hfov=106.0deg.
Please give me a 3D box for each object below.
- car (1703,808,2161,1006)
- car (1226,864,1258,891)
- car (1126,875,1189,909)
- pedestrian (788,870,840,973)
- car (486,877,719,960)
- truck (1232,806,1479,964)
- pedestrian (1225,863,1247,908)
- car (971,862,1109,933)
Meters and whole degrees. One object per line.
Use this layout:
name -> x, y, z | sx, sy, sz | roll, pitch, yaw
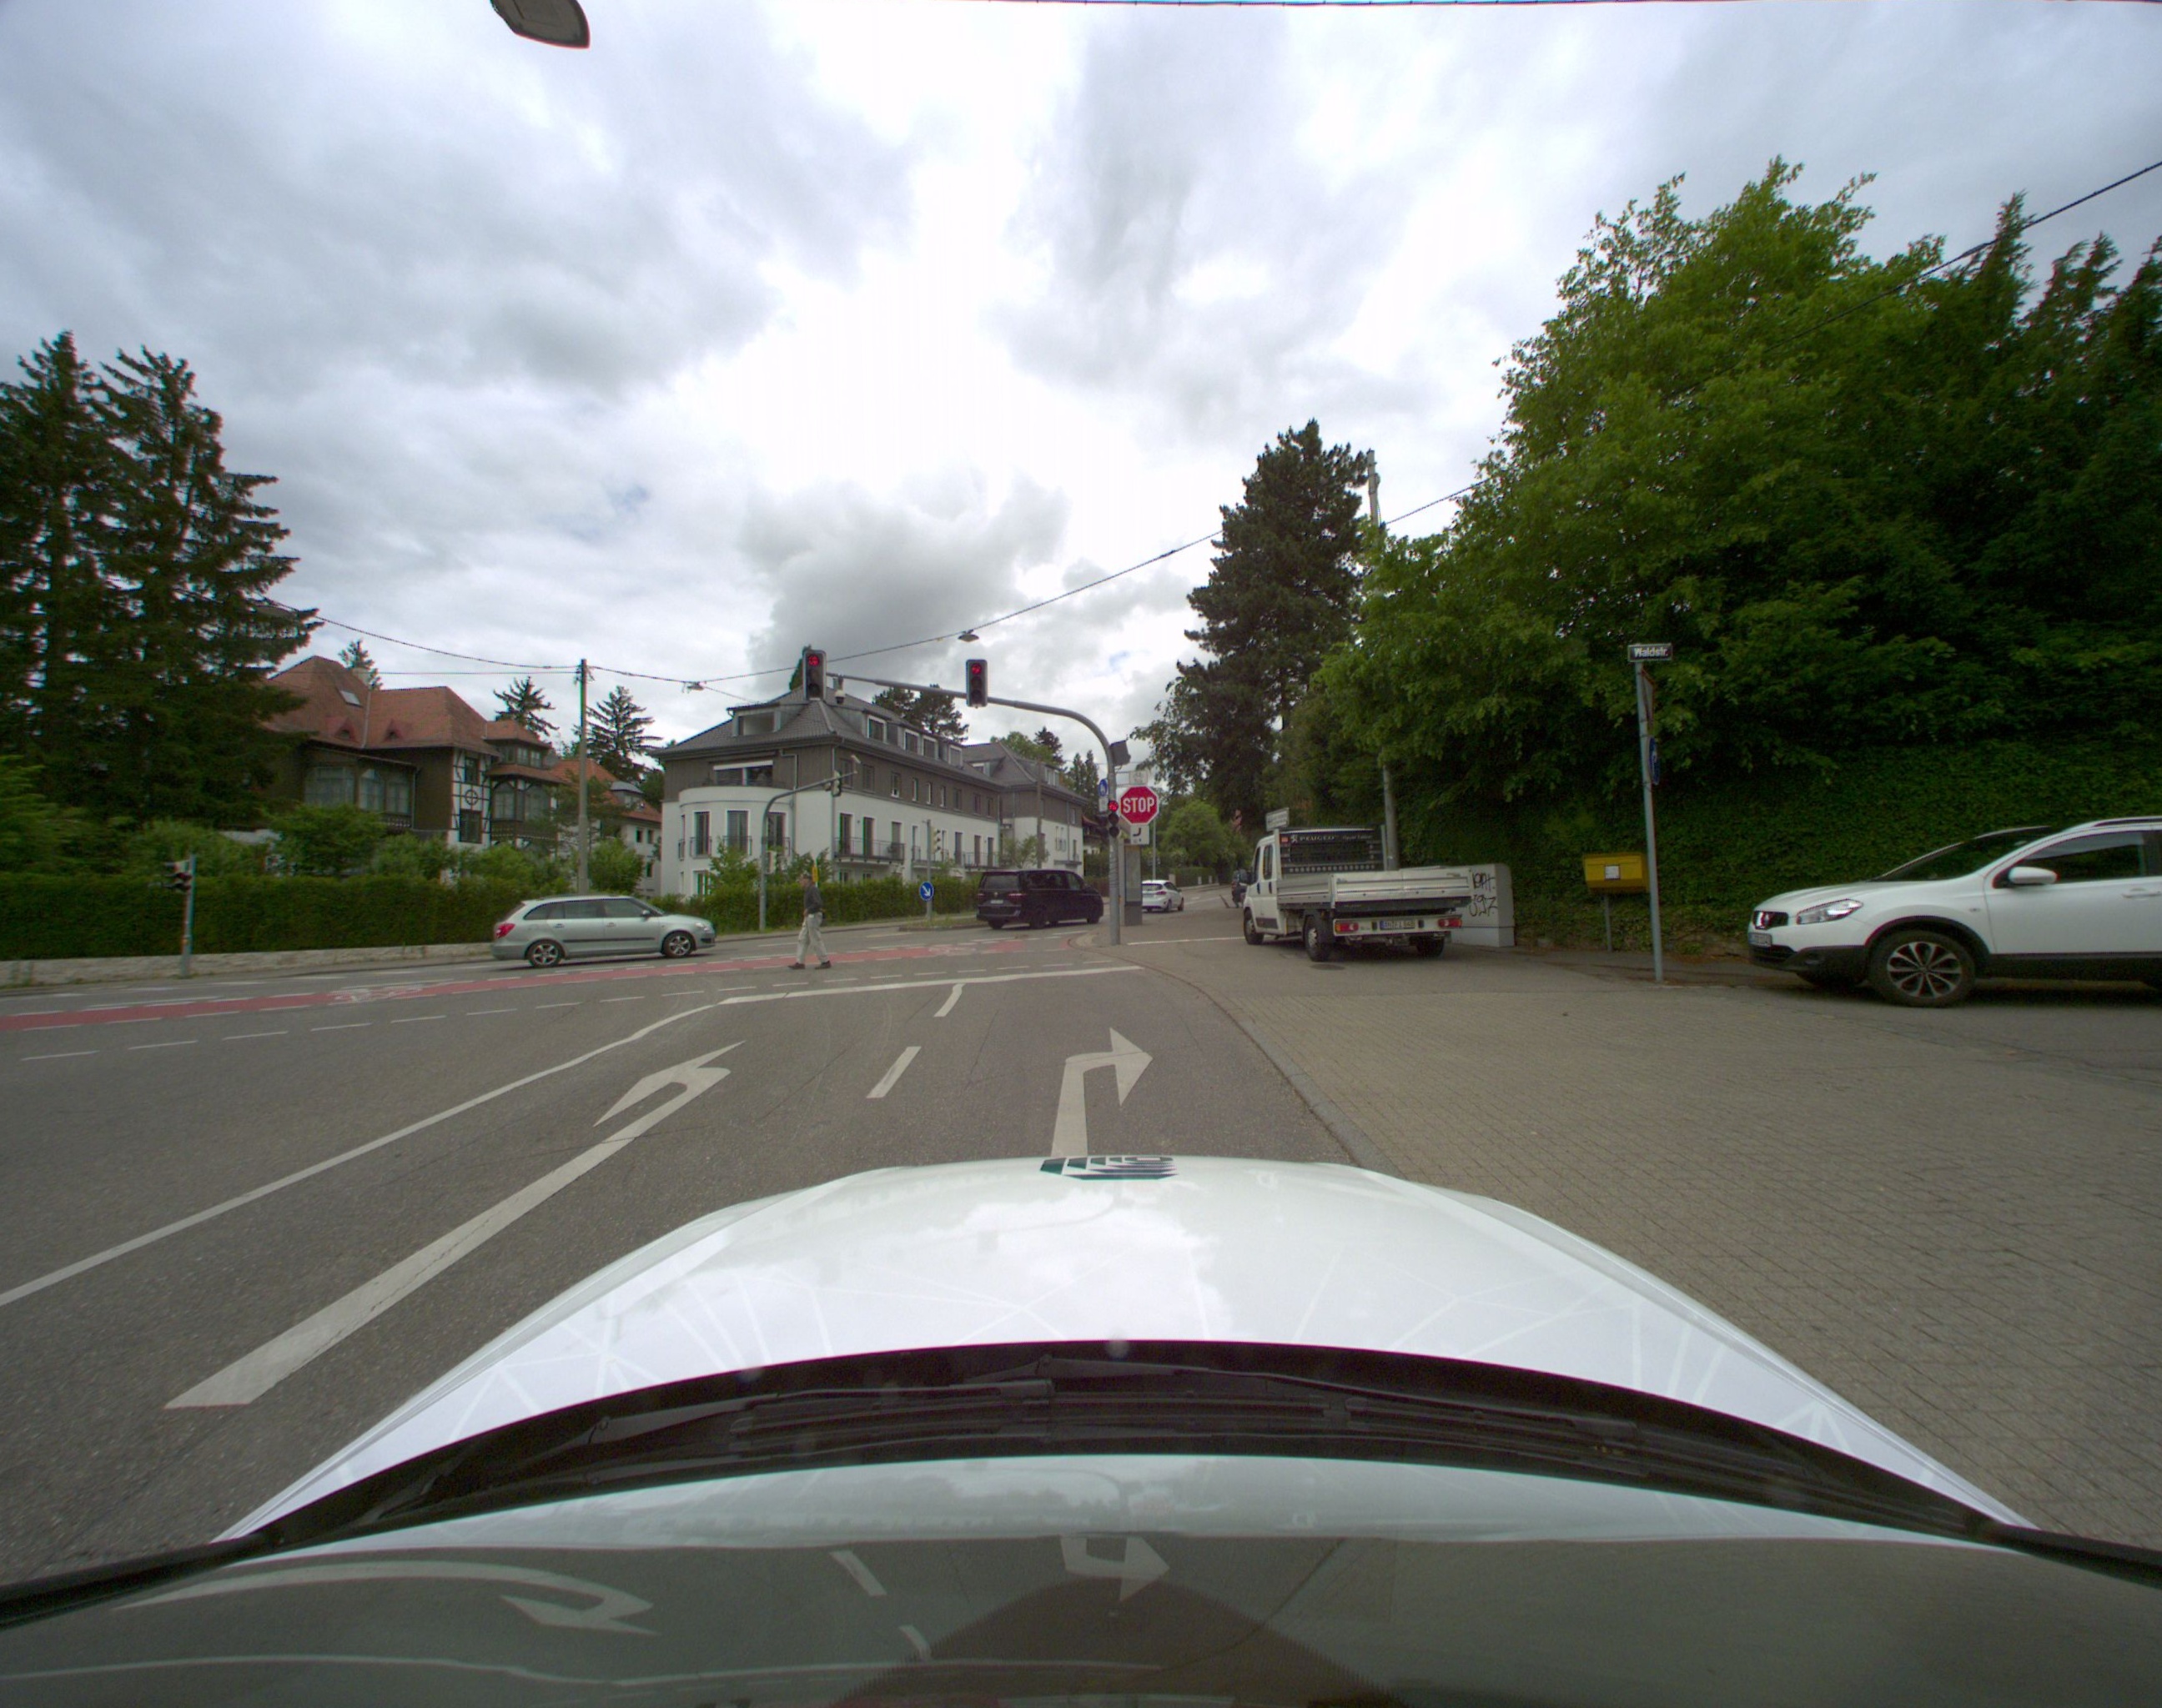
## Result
car -> 8.769, 0.478, 7.649 | 4.204, 1.594, 1.998 | -2, -3, 21
car -> 12.840, 1.895, 65.103 | 1.984, 2.014, 4.514 | -2, -3, 5
car -> 3.514, 1.736, 36.969 | 1.915, 1.383, 4.018 | -3, -3, 18
pedestrian -> -4.599, 1.132, 14.019 | 0.702, 1.682, 0.679 | -2, 0, -29
car -> -10.298, 1.308, 17.738 | 4.211, 1.476, 1.695 | 0, 1, -34
truck -> 4.446, 0.553, 14.499 | 2.178, 2.195, 5.875 | -1, -2, -2
pedestrian -> 7.067, 1.415, 37.114 | 0.835, 2.014, 0.589 | -2, -1, -1
car -> -1.233, 1.319, 26.729 | 1.974, 2.013, 4.811 | 1, 1, 35
